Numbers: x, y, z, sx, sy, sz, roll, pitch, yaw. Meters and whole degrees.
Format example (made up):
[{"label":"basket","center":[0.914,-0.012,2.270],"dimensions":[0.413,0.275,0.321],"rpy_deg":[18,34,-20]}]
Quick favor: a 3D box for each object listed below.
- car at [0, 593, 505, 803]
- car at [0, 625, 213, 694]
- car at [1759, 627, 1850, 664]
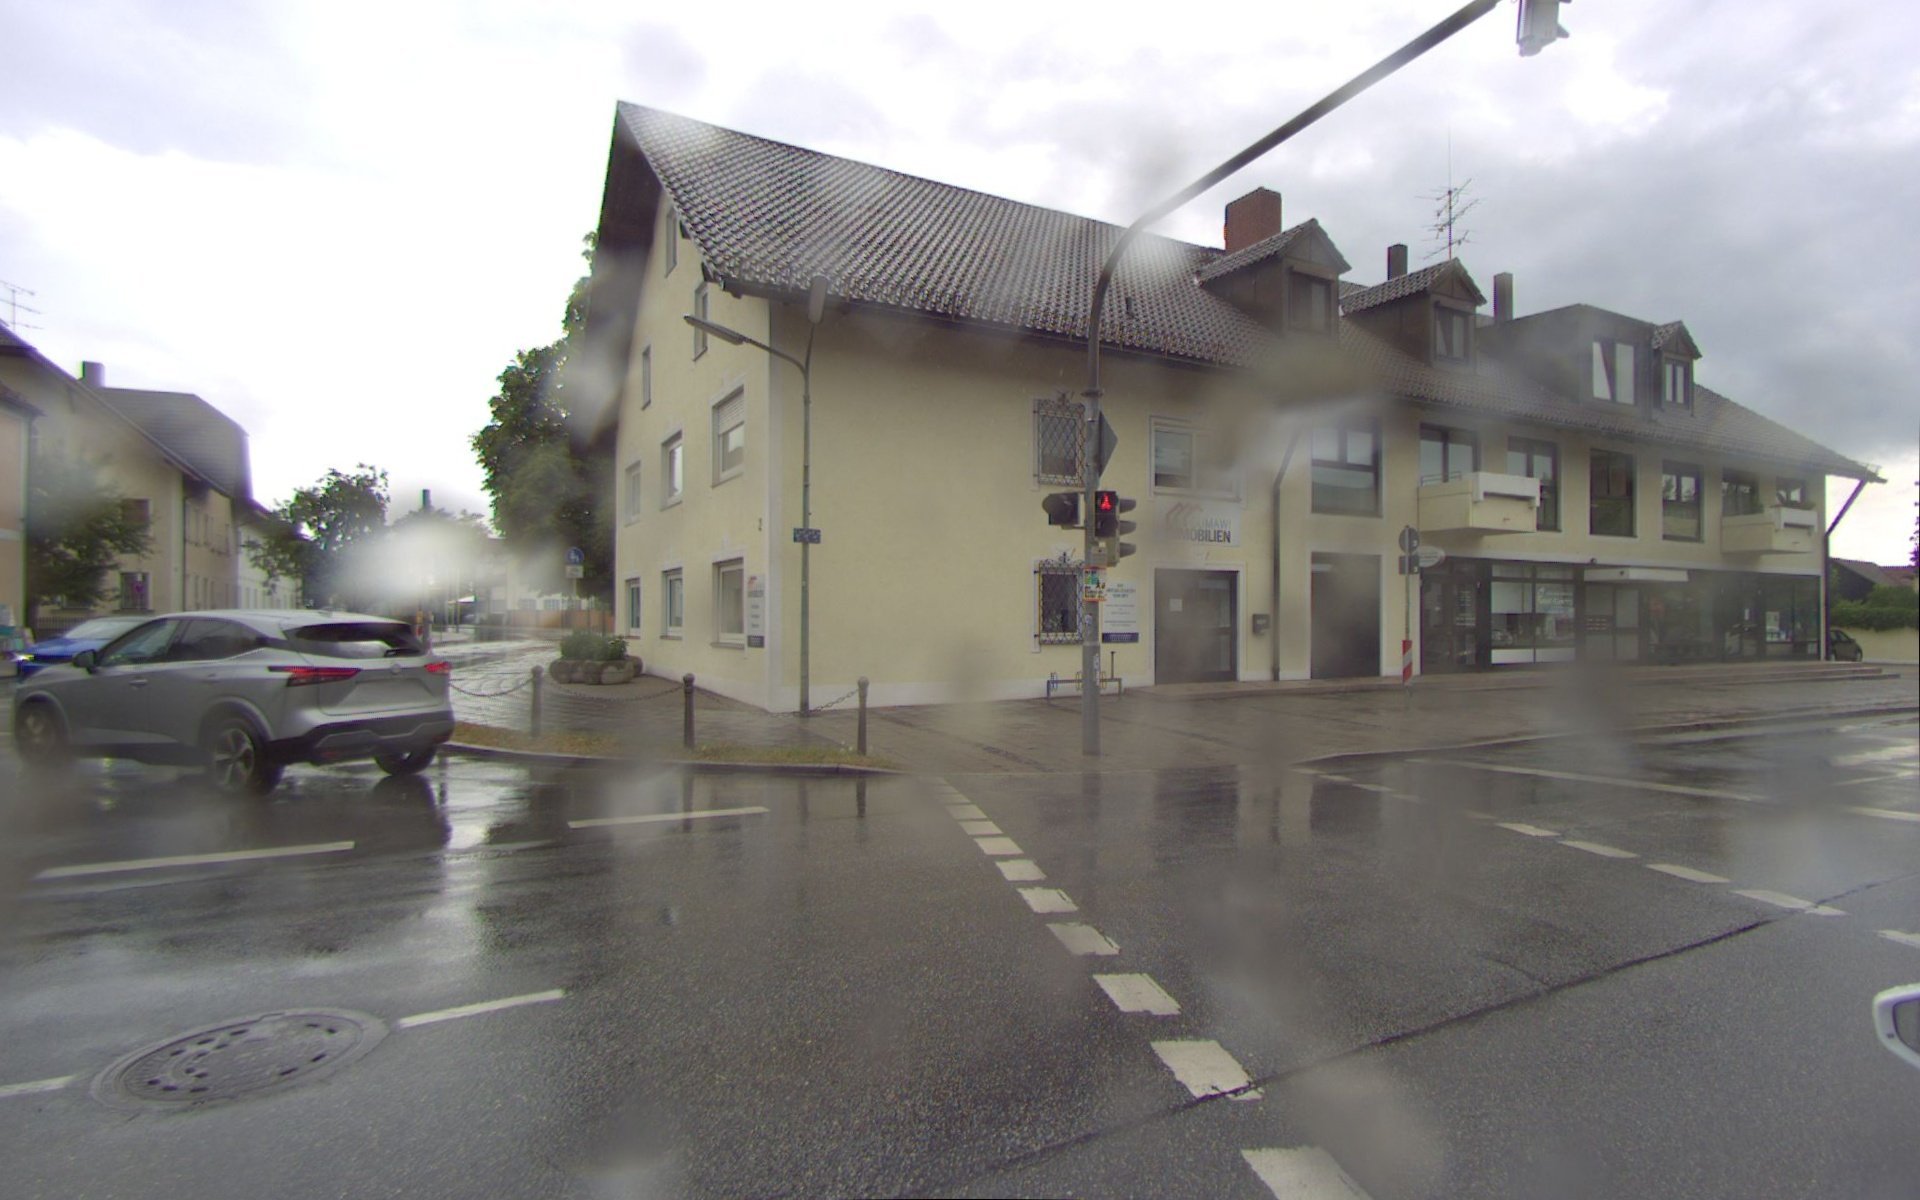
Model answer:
[{"label":"car","center":[-6.971,0.852,9.813],"dimensions":[4.299,1.695,2.090],"rpy_deg":[0,-2,18]},{"label":"car","center":[-17.168,1.142,20.460],"dimensions":[1.662,1.201,4.346],"rpy_deg":[1,-1,-16]},{"label":"car","center":[32.799,1.749,39.007],"dimensions":[3.467,1.398,1.600],"rpy_deg":[1,-2,-30]}]
